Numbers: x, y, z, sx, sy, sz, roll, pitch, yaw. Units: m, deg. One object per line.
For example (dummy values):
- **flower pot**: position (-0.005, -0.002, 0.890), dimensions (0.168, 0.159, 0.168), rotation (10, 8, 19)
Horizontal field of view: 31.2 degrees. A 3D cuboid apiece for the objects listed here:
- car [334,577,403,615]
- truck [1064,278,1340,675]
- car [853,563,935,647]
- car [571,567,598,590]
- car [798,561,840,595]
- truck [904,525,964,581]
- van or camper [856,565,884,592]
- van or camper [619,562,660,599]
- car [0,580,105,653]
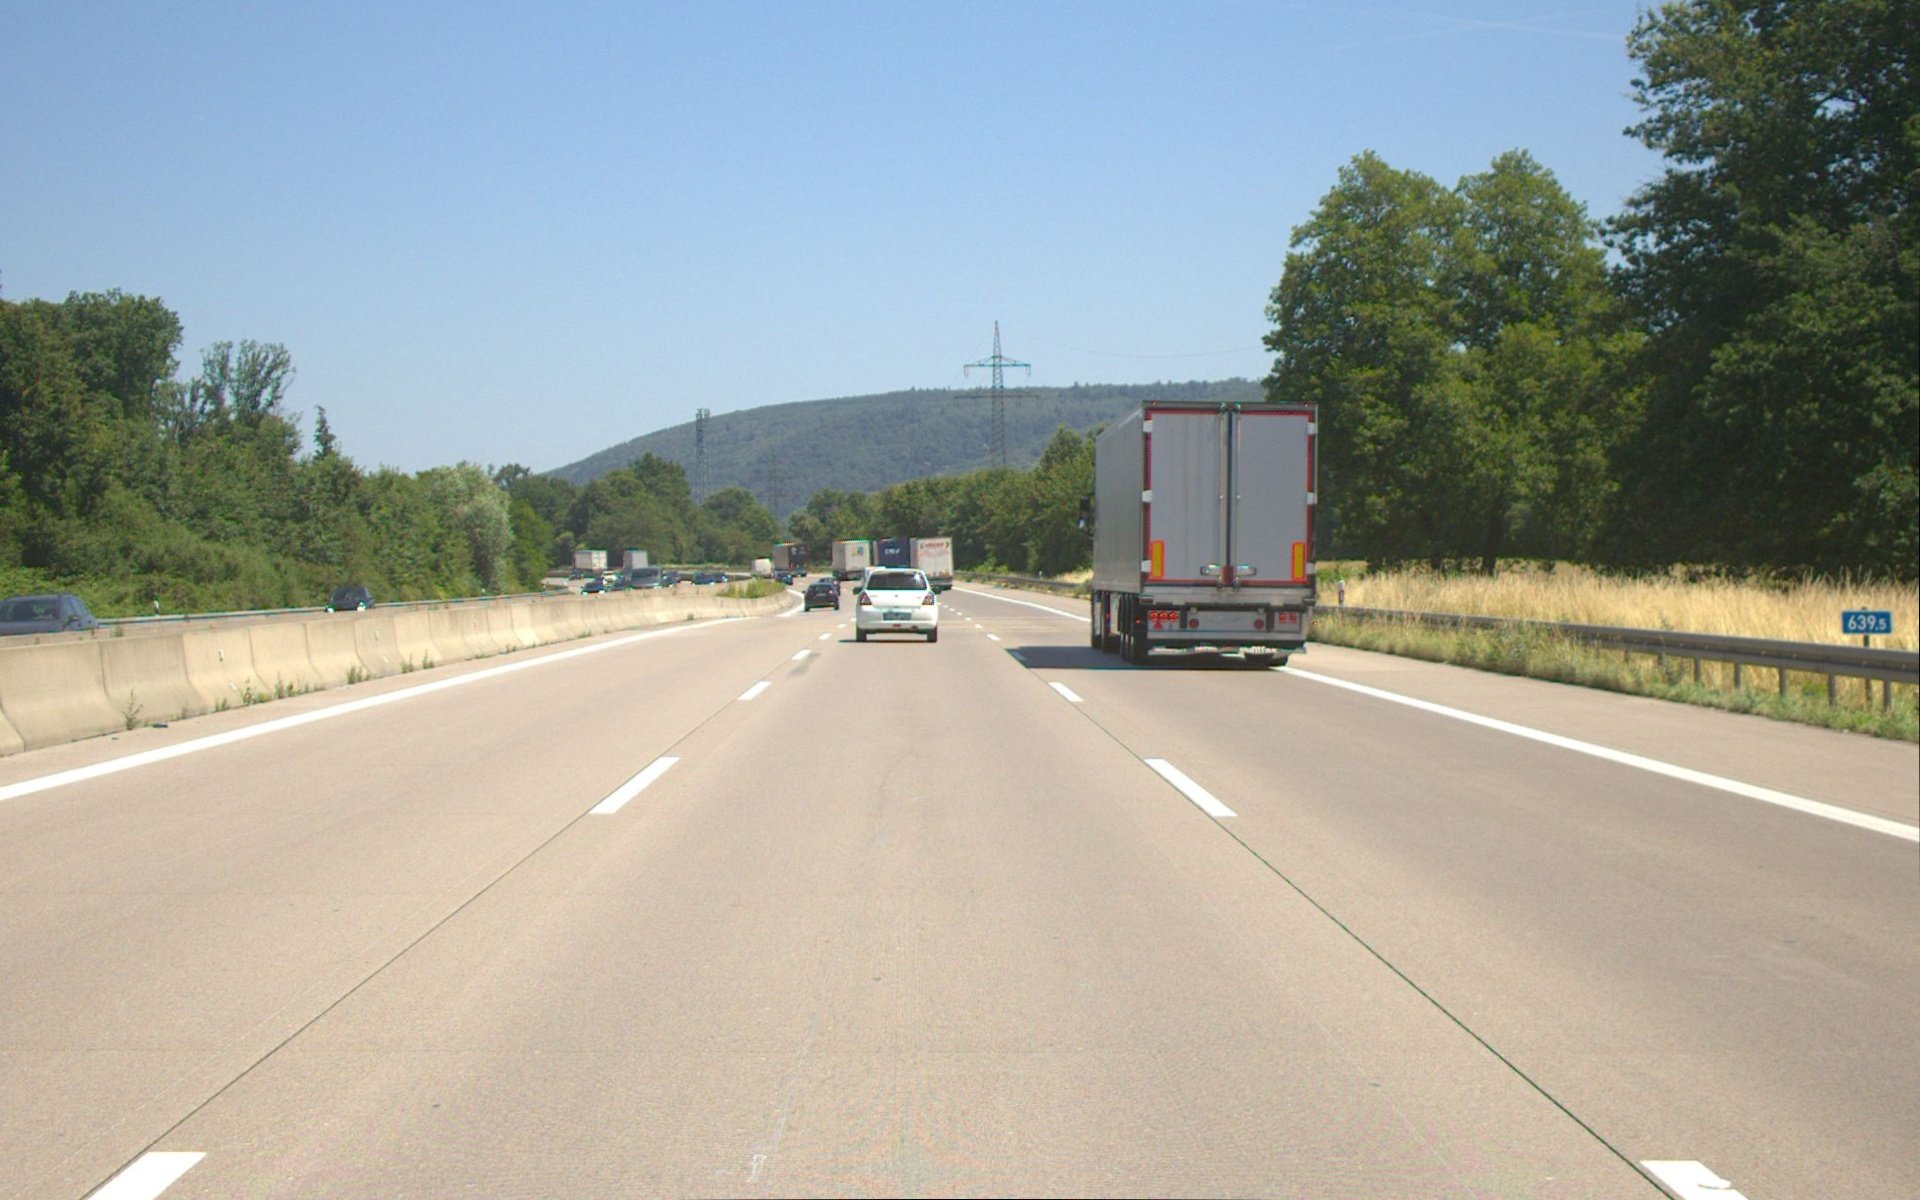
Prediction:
- **car**: position (-22.474, -0.177, 130.699), dimensions (1.928, 1.371, 4.000), rotation (-1, 1, 0)
- **truck**: position (3.802, -1.962, 59.218), dimensions (3.577, 5.767, 18.247), rotation (0, 1, 0)
- **car**: position (-1.362, 0.083, 71.328), dimensions (1.641, 1.656, 3.360), rotation (1, 1, -1)
- **car**: position (-27.819, -1.579, 255.034), dimensions (1.703, 1.652, 4.091), rotation (-1, 0, -2)
- **car**: position (-7.301, -1.151, 177.887), dimensions (2.022, 1.695, 4.001), rotation (1, 1, -4)
- **truck**: position (-2.033, -3.593, 260.078), dimensions (3.820, 3.876, 14.154), rotation (-4, 1, -3)
- **van or camper**: position (-6.733, -1.619, 257.937), dimensions (1.867, 1.831, 4.001), rotation (-4, 1, -3)
- **van or camper**: position (-16.688, -1.034, 179.060), dimensions (1.847, 1.875, 4.417), rotation (-1, 0, -2)
- **car**: position (-17.802, 0.287, 66.089), dimensions (1.676, 1.311, 4.861), rotation (0, 1, -2)
